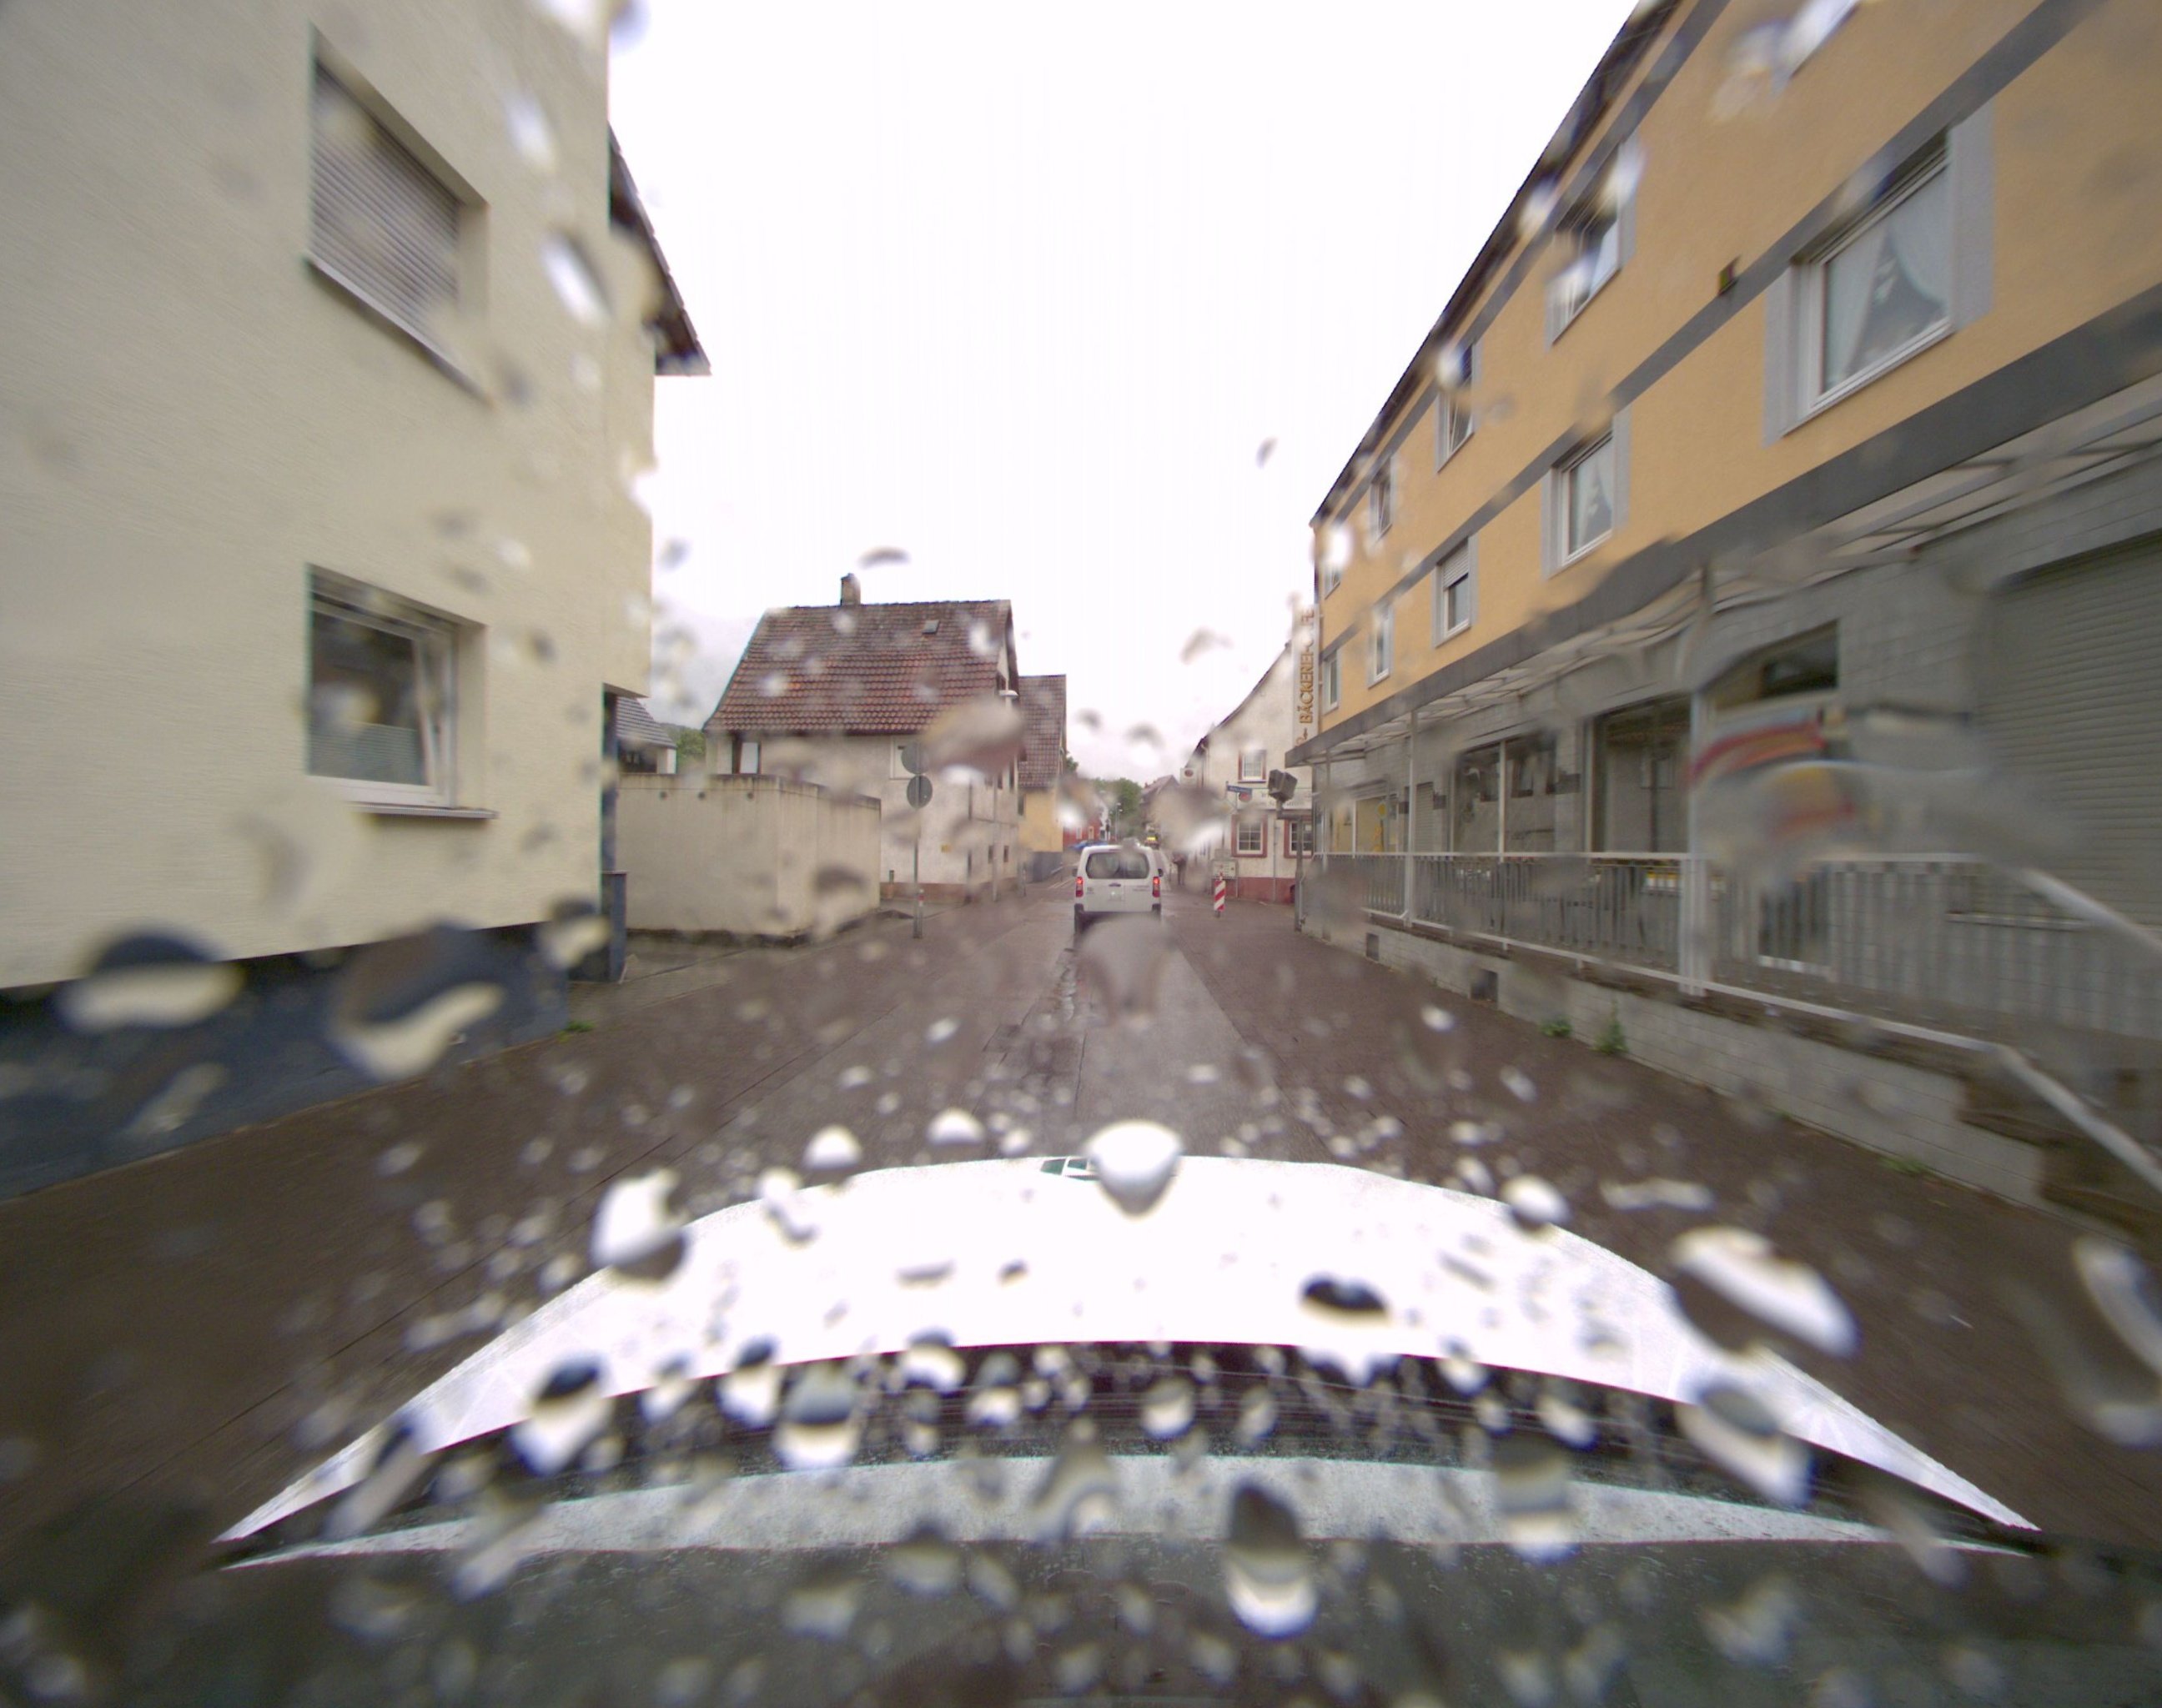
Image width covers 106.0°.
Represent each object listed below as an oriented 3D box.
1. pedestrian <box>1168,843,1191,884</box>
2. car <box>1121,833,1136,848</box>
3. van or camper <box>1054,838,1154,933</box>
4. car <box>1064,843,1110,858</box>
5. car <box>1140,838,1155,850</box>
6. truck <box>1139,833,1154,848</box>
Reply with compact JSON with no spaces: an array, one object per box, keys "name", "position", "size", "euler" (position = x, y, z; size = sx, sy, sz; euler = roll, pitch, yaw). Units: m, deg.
[{"name":"pedestrian","position":[4.327,0.418,35.863],"size":[0.988,1.735,0.813],"euler":[0,3,8]},{"name":"car","position":[5.985,-1.702,102.860],"size":[1.804,1.779,4.022],"euler":[0,2,3]},{"name":"van or camper","position":[0.622,0.621,17.950],"size":[1.934,1.851,4.005],"euler":[0,0,5]},{"name":"car","position":[0.619,-0.339,80.116],"size":[4.014,1.373,2.089],"euler":[-1,0,-33]},{"name":"car","position":[9.753,-1.488,119.564],"size":[1.985,1.747,4.003],"euler":[0,0,3]},{"name":"truck","position":[10.644,-2.131,132.738],"size":[2.341,2.425,4.952],"euler":[0,0,2]}]
